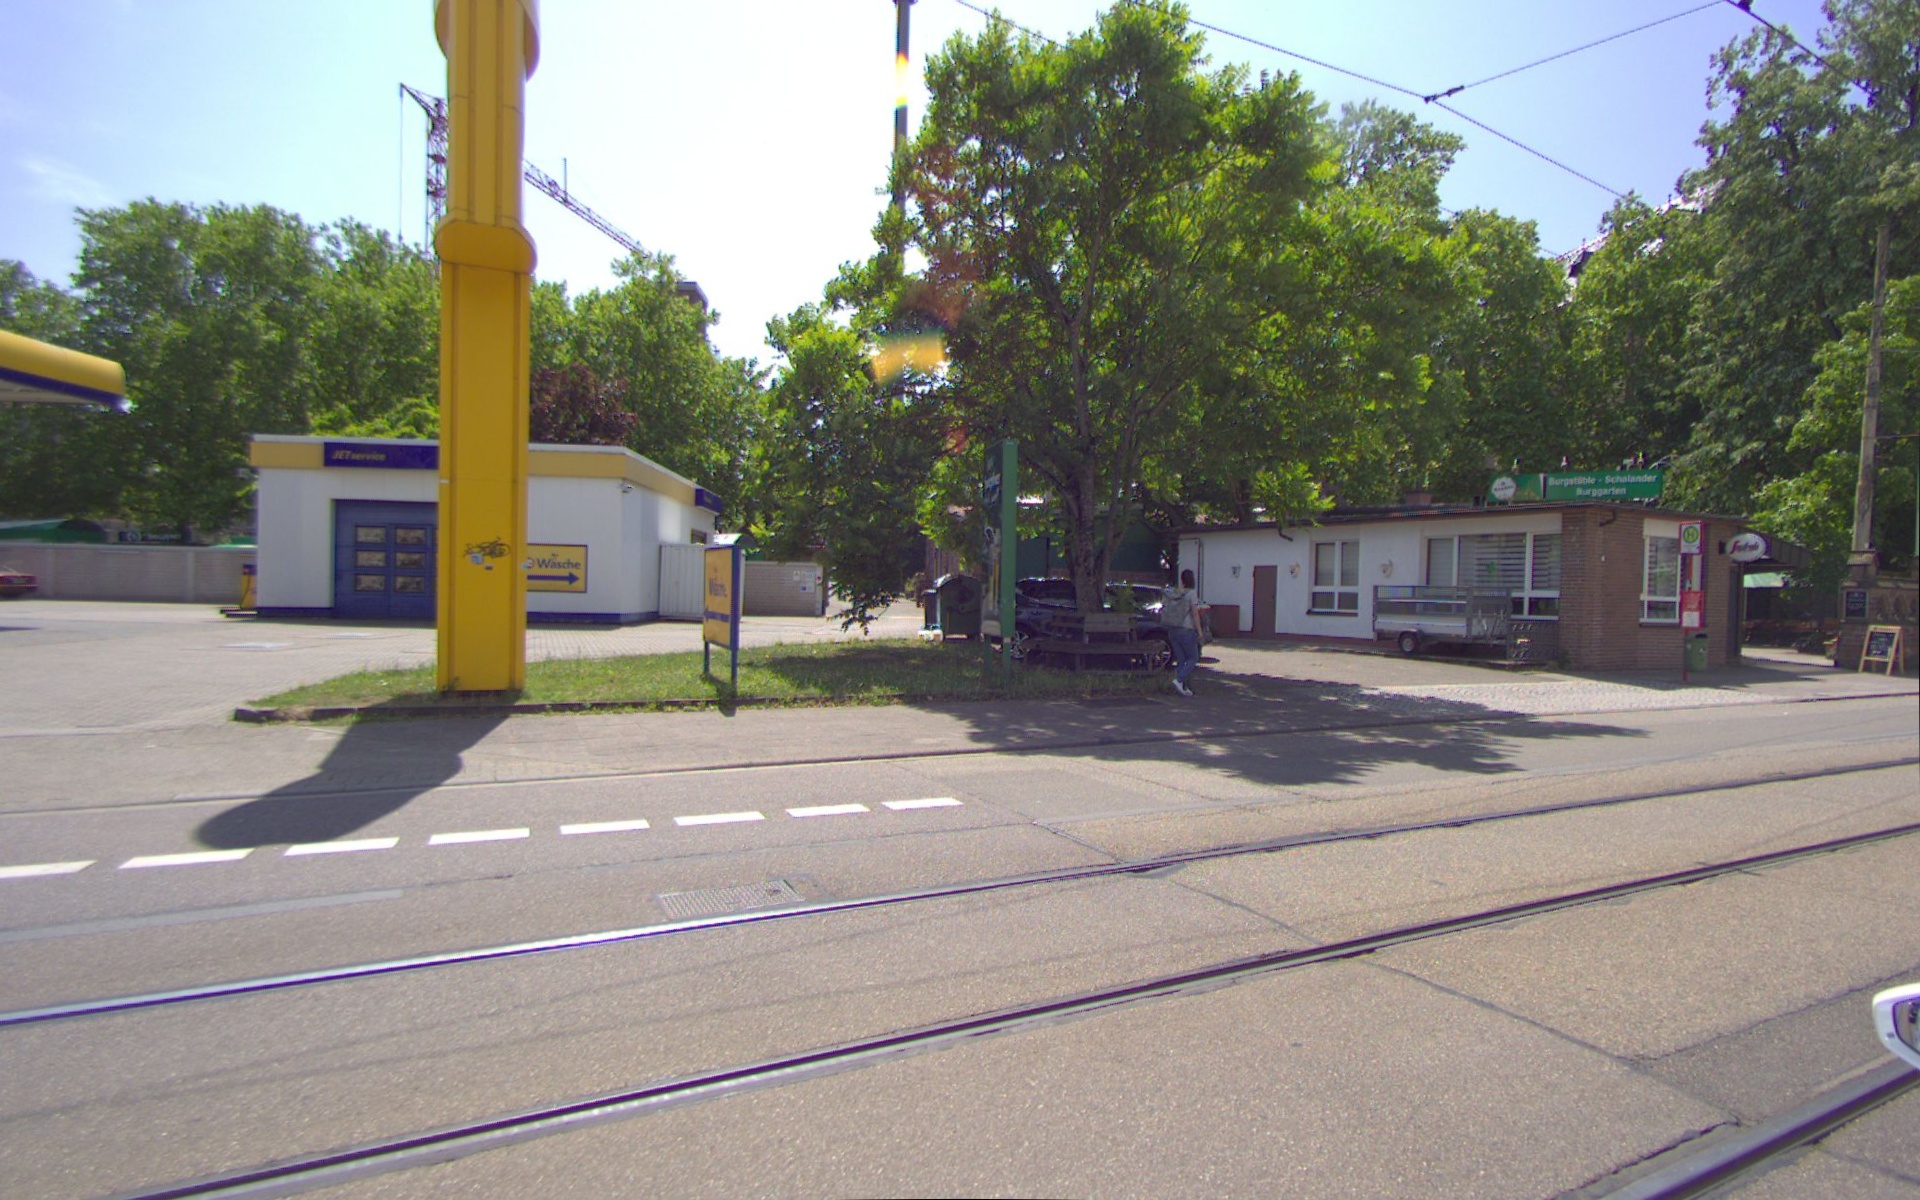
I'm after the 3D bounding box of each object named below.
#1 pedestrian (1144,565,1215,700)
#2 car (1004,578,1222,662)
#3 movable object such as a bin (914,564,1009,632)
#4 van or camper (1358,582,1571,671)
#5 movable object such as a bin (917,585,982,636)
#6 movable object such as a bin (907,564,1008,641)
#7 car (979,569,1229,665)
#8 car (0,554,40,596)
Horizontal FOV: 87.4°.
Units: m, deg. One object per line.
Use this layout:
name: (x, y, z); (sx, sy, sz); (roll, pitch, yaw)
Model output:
pedestrian: (3.024, 0.438, 13.859); (0.692, 1.799, 0.577); (1, 3, -31)
car: (3.325, 0.364, 21.620); (4.362, 1.508, 1.936); (3, 2, 17)
movable object such as a bin: (-0.002, -0.074, 23.096); (2.059, 1.451, 1.525); (2, 2, -3)
van or camper: (10.934, 0.505, 22.042); (1.847, 1.651, 3.769); (0, 3, -27)
movable object such as a bin: (-0.275, 0.240, 25.078); (1.534, 1.153, 1.408); (2, 2, -3)
movable object such as a bin: (-0.089, 0.035, 21.542); (2.059, 1.530, 1.525); (2, 2, -3)
car: (2.713, 0.260, 18.836); (4.361, 1.508, 1.936); (2, 2, 12)
car: (-34.835, -0.910, 34.864); (4.157, 1.429, 1.719); (2, 1, -1)
